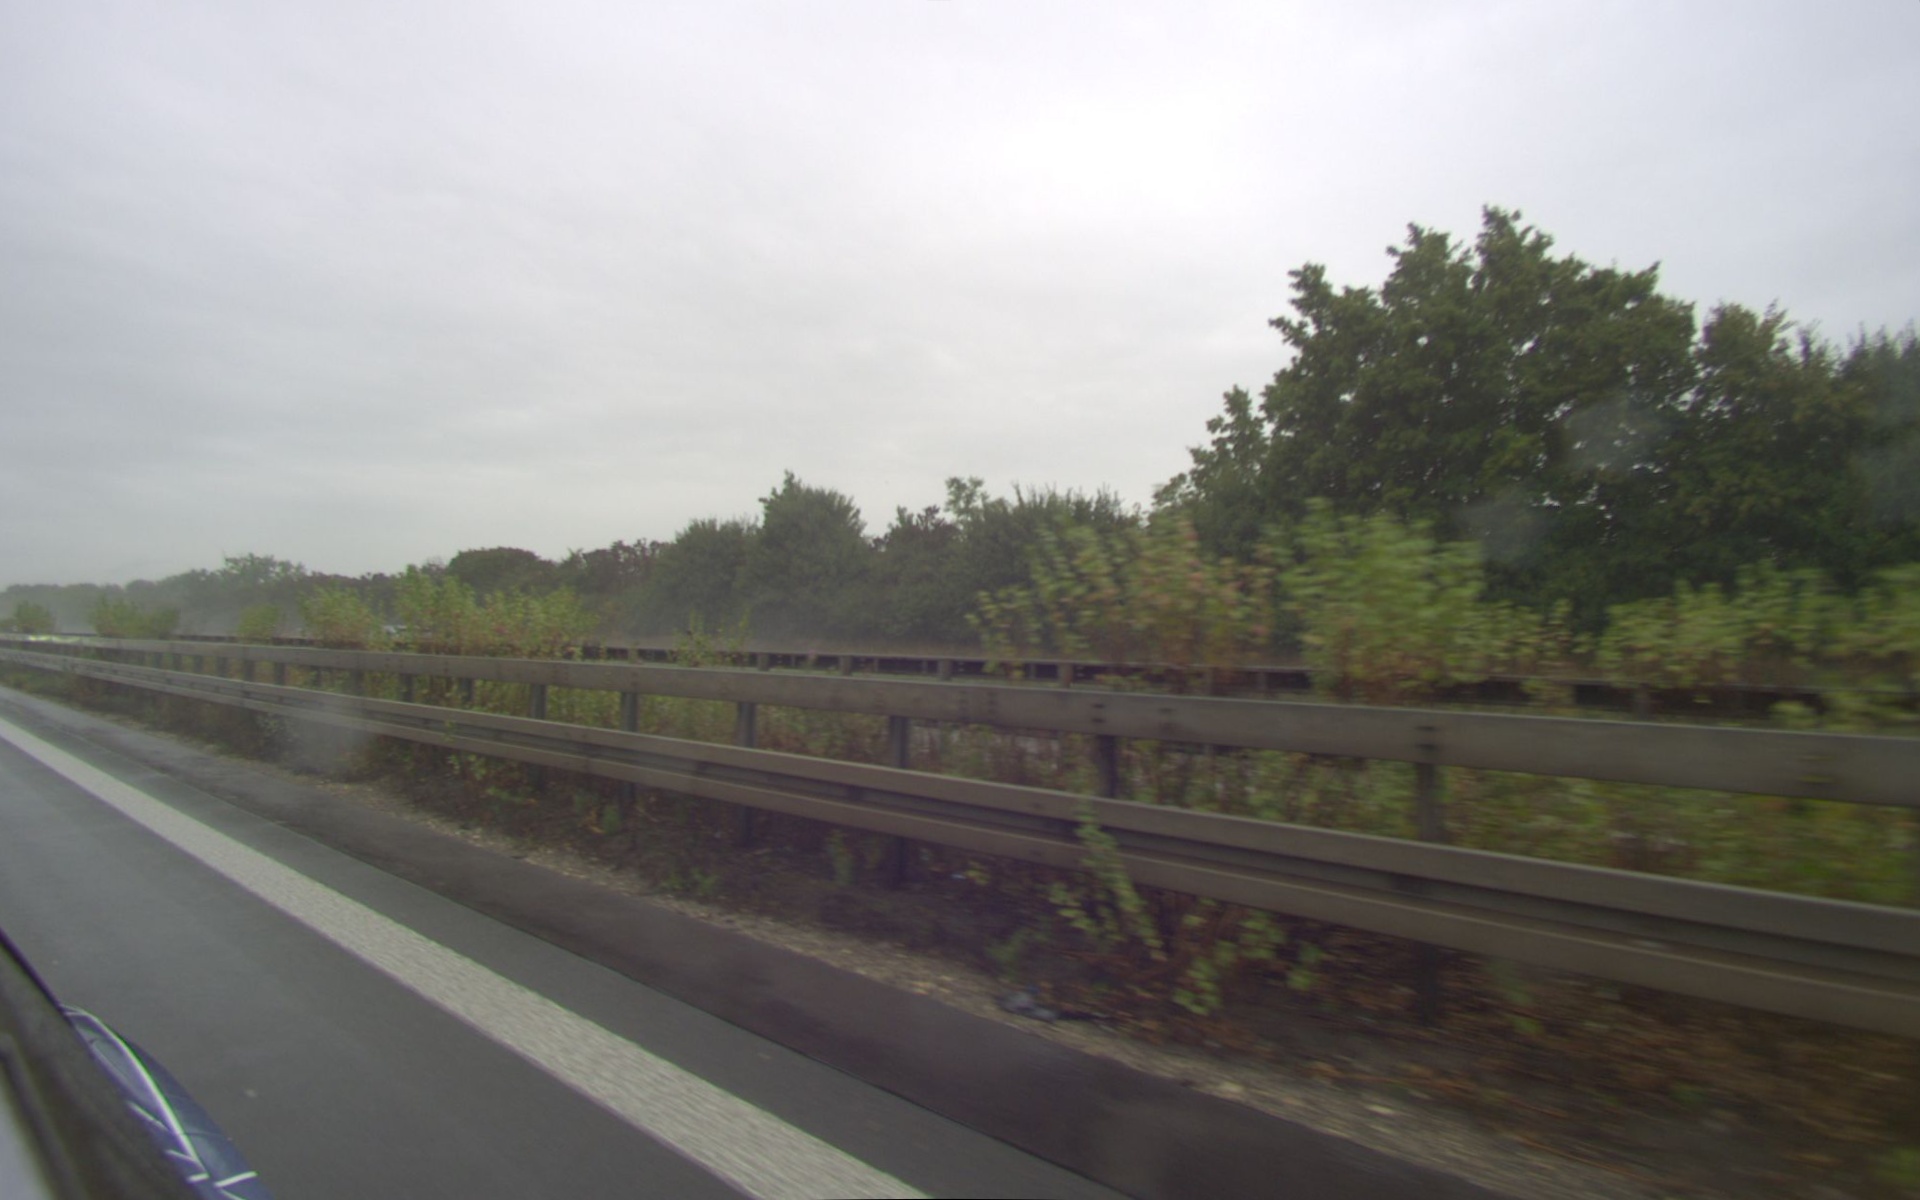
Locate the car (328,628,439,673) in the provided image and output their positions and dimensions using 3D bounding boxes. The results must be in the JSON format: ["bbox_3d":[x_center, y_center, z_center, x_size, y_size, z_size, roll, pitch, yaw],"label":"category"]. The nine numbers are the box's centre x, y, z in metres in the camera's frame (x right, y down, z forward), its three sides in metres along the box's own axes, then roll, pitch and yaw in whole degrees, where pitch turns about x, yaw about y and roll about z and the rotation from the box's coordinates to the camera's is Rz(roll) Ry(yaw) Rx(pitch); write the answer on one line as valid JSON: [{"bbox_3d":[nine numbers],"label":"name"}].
[{"bbox_3d":[-21.417,1.840,37.497,5.431,1.524,1.907,-2,-1,41],"label":"car"}]
